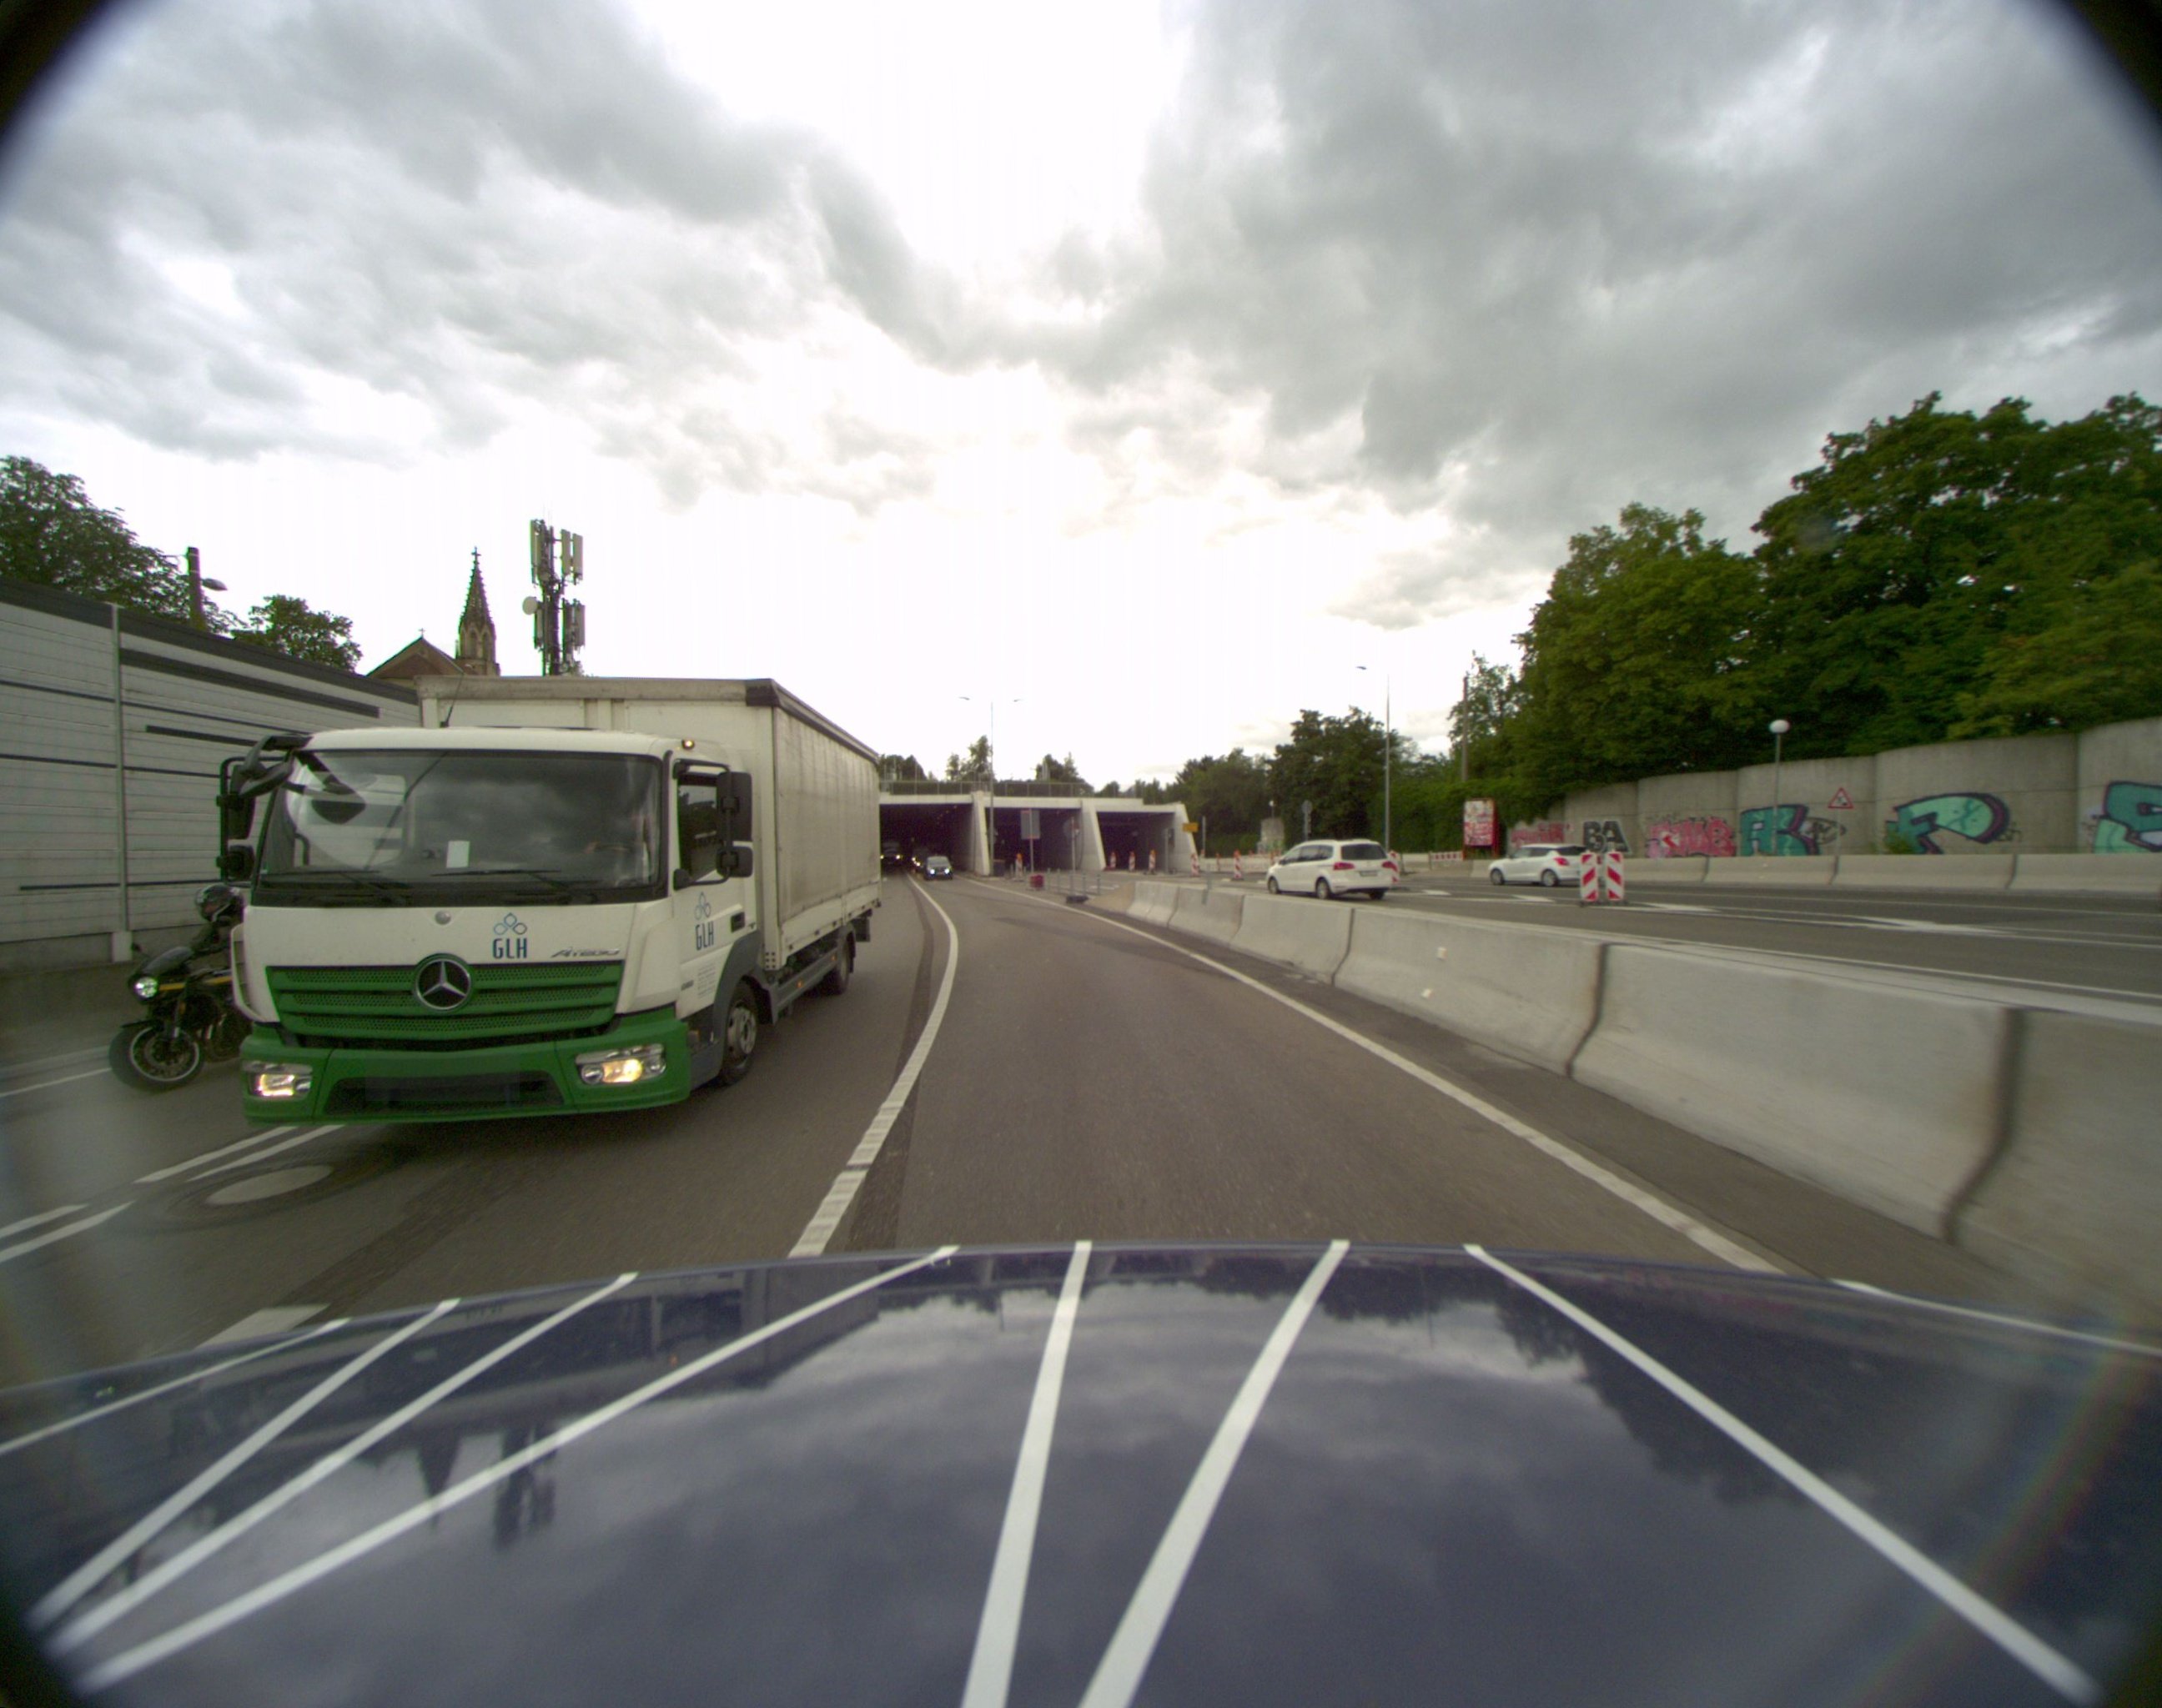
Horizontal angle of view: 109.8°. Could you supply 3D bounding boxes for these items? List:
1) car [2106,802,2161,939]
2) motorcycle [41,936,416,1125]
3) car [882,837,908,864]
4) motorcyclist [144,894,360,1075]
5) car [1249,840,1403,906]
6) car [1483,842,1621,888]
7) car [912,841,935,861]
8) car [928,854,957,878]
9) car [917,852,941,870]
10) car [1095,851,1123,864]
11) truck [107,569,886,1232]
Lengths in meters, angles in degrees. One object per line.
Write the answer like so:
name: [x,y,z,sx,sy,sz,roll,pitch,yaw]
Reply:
car: [14.197,0.178,7.314,1.998,1.685,4.927,-2,0,0]
motorcycle: [-7.543,1.466,7.026,0.746,1.077,2.662,-1,1,-9]
car: [-20.024,-0.404,81.510,2.563,2.752,7.340,0,1,-15]
motorcyclist: [-7.569,1.139,7.009,0.915,1.468,0.966,-1,0,-11]
car: [7.141,0.479,22.908,1.957,1.740,5.267,-1,1,-14]
car: [15.997,0.335,26.091,1.766,1.426,4.141,-1,1,-9]
car: [-16.481,-0.265,79.462,2.001,2.002,3.994,-2,0,-16]
car: [-8.760,0.722,48.065,1.723,1.455,3.996,0,1,-10]
car: [-13.101,0.570,65.451,1.830,1.437,3.995,-2,0,-13]
car: [3.054,0.355,83.751,1.870,1.342,4.189,-1,1,-15]
truck: [-3.800,0.197,7.523,2.638,3.220,7.410,0,1,-7]
